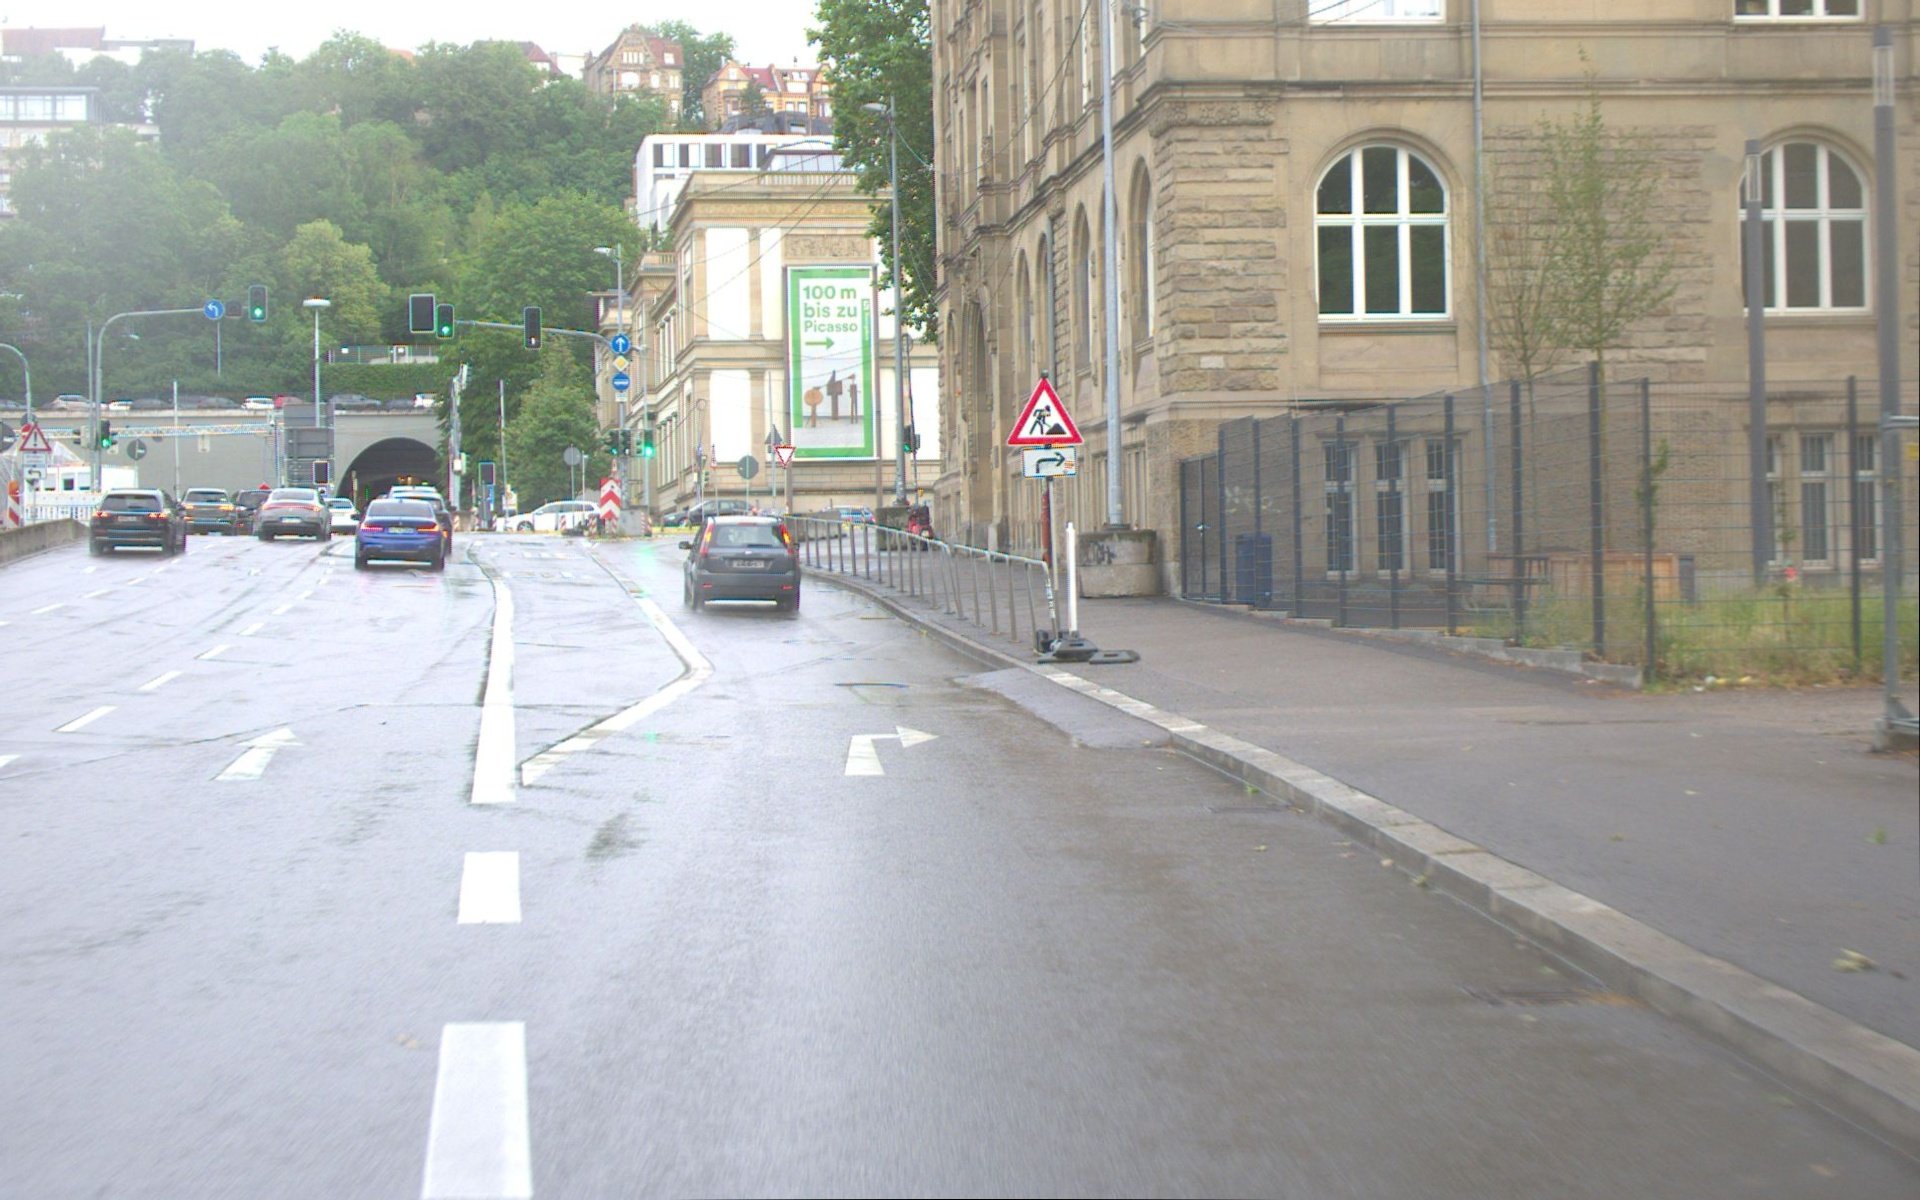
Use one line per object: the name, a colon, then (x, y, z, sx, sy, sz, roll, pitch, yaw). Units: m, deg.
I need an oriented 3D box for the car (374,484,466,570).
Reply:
car: (-13.349, -1.786, 85.145, 1.776, 2.007, 4.000, -2, 0, -3)

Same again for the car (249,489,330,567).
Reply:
car: (-18.584, -1.973, 95.439, 2.051, 2.007, 4.001, -2, 0, -10)

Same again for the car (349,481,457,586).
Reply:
car: (-11.560, -1.357, 71.482, 2.104, 2.043, 4.001, -2, 0, -9)

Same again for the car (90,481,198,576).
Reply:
car: (-18.486, -1.600, 78.021, 2.016, 2.007, 4.001, -2, 0, -9)

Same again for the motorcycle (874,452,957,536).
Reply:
motorcycle: (-1.127, -2.652, 85.434, 1.795, 2.006, 3.814, -1, 2, -5)

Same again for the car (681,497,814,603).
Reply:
car: (-3.332, -0.750, 53.373, 1.812, 1.521, 4.001, -2, 0, -6)

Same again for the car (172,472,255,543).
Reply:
car: (-23.020, -2.828, 106.142, 1.993, 2.007, 4.001, -2, 0, -6)

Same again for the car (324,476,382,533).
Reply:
car: (-23.190, -3.632, 131.236, 1.993, 2.007, 4.001, -2, 1, -12)
